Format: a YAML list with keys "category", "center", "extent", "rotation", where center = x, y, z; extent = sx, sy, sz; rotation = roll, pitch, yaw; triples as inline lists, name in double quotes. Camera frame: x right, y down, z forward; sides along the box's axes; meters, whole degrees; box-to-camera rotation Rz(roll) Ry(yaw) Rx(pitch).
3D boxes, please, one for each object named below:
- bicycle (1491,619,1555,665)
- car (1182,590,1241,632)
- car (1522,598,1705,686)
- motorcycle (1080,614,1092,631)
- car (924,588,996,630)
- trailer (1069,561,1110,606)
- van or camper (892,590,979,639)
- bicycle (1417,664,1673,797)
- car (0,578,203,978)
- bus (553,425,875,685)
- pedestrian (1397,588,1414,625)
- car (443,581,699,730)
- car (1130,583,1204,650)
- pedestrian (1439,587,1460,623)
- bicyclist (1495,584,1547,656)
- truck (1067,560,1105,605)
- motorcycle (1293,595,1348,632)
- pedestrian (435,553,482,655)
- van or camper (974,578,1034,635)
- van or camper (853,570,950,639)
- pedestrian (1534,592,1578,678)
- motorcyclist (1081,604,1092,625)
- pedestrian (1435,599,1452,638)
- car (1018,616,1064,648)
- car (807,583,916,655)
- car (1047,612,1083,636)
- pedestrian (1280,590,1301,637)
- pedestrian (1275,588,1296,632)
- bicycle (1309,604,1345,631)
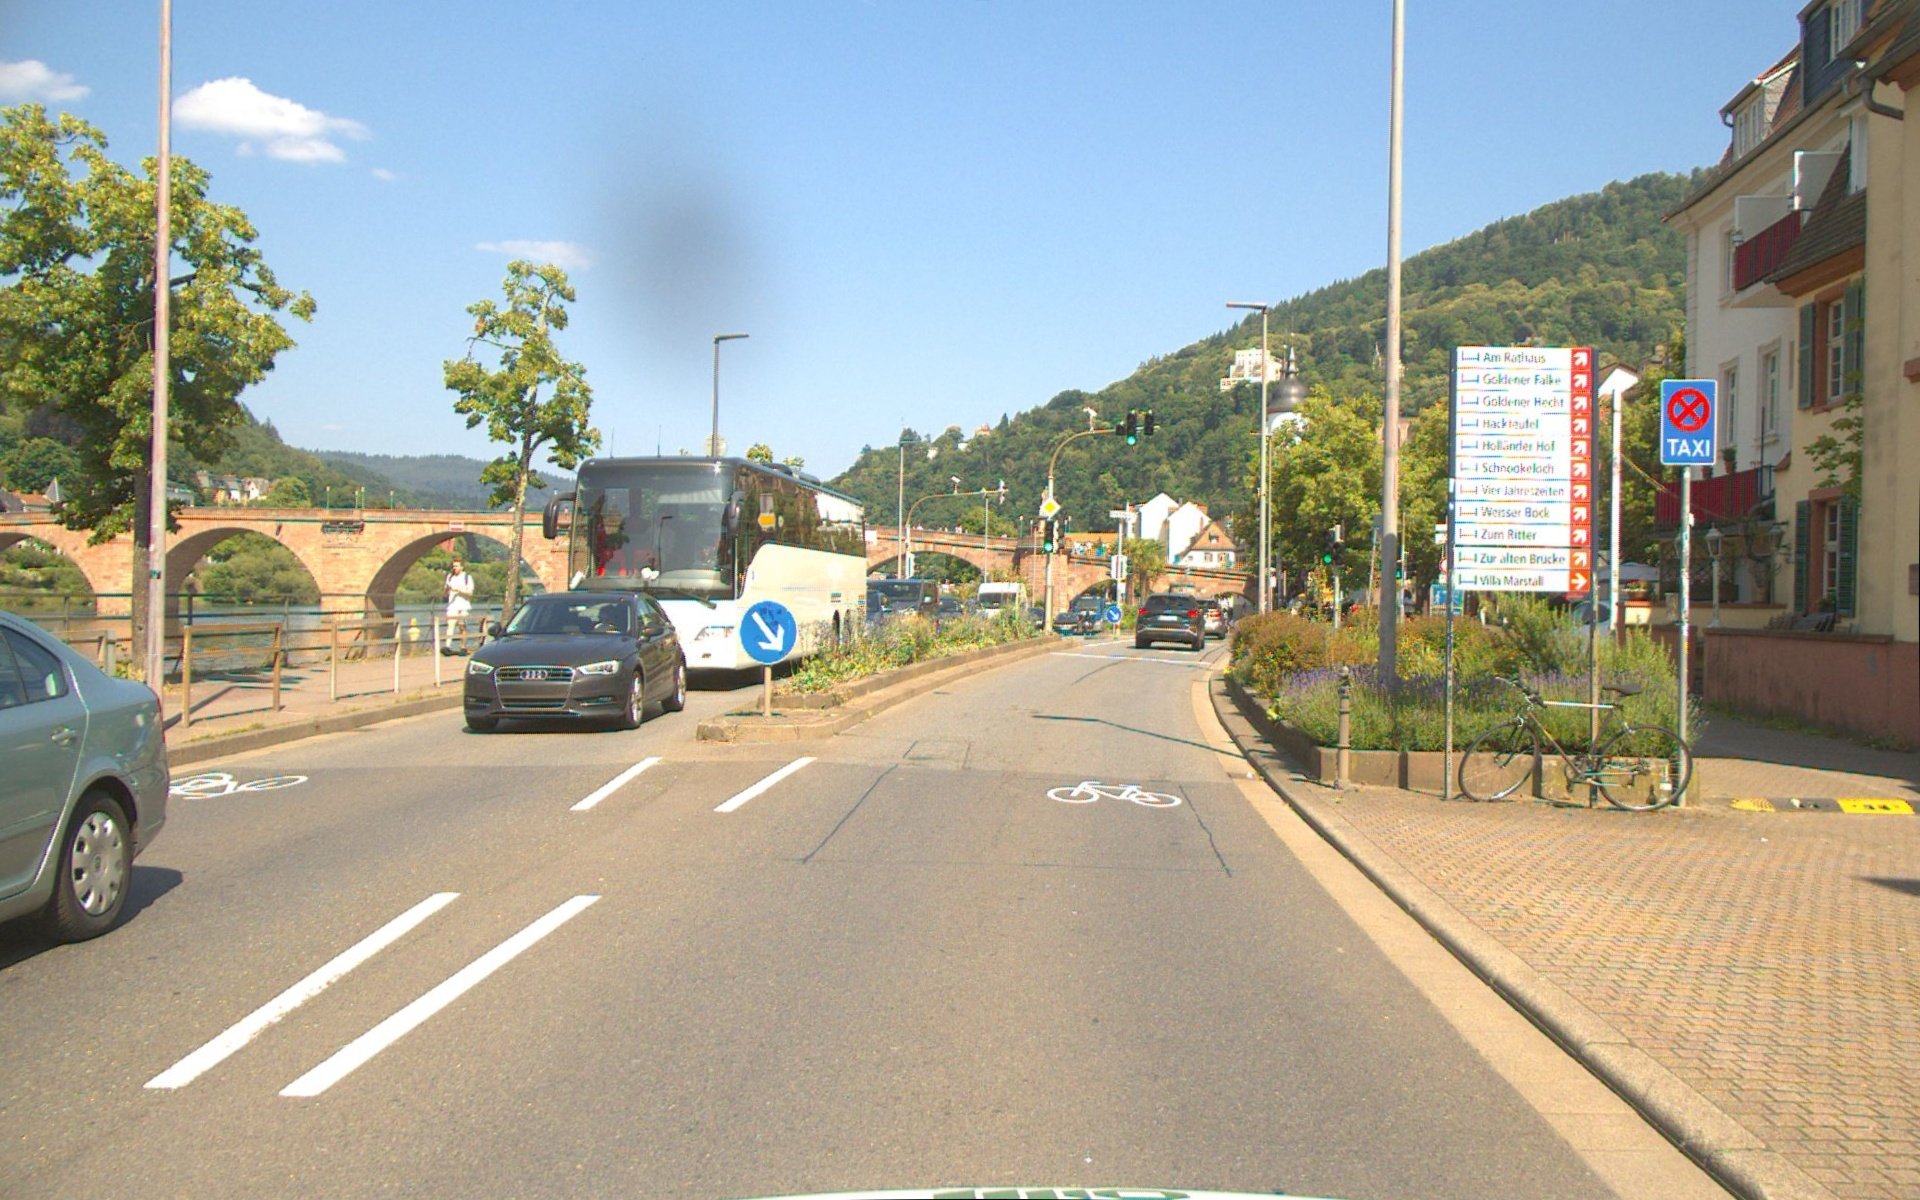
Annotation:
- category: "bicycle"
  center: [12.845, 0.948, 37.768]
  extent: [0.735, 0.981, 1.781]
  rotation: [2, 0, -4]
- category: "car"
  center: [9.372, 0.390, 61.941]
  extent: [1.886, 1.486, 4.835]
  rotation: [1, 0, 5]
- category: "car"
  center: [13.060, 0.788, 33.391]
  extent: [1.839, 1.605, 4.727]
  rotation: [1, 0, 1]
- category: "motorcycle"
  center: [9.094, 1.604, 119.147]
  extent: [0.741, 1.151, 2.457]
  rotation: [1, 0, 7]
- category: "car"
  center: [0.043, 0.337, 60.451]
  extent: [1.910, 1.433, 4.574]
  rotation: [-2, 0, 9]
- category: "trailer"
  center: [10.627, -1.282, 134.954]
  extent: [2.601, 3.463, 8.833]
  rotation: [1, 0, 9]
- category: "van or camper"
  center: [-0.736, 0.471, 53.217]
  extent: [1.951, 1.502, 5.069]
  rotation: [0, -1, 9]
- category: "bicycle"
  center: [4.504, 0.998, 12.781]
  extent: [1.773, 0.893, 0.502]
  rotation: [3, 0, -3]
- category: "car"
  center: [-4.378, 0.666, 5.502]
  extent: [1.776, 1.453, 4.310]
  rotation: [-1, 1, -1]
- category: "bus"
  center: [-3.800, -0.566, 29.734]
  extent: [2.575, 3.626, 12.990]
  rotation: [1, -1, 6]
- category: "pedestrian"
  center: [20.352, 0.302, 75.541]
  extent: [0.692, 1.682, 0.707]
  rotation: [1, 0, 10]
- category: "car"
  center: [-4.125, 0.528, 18.232]
  extent: [1.779, 1.454, 4.193]
  rotation: [0, 0, 1]
- category: "car"
  center: [5.741, 0.404, 45.797]
  extent: [1.886, 1.580, 4.836]
  rotation: [2, 2, 7]
- category: "pedestrian"
  center: [19.640, 0.181, 66.407]
  extent: [0.613, 1.406, 0.542]
  rotation: [3, 0, 1]
- category: "bicyclist"
  center: [12.853, 0.460, 37.933]
  extent: [0.751, 1.611, 1.088]
  rotation: [1, 0, -4]
- category: "truck"
  center: [10.064, -1.342, 131.488]
  extent: [2.601, 3.463, 4.453]
  rotation: [1, 0, 9]
- category: "motorcycle"
  center: [14.873, 0.573, 68.273]
  extent: [0.757, 1.491, 2.265]
  rotation: [1, -2, -39]
- category: "pedestrian"
  center: [-9.064, 0.070, 29.906]
  extent: [0.607, 1.811, 0.662]
  rotation: [1, 0, 1]
- category: "van or camper"
  center: [2.047, 0.324, 75.154]
  extent: [1.951, 2.493, 5.498]
  rotation: [-1, -1, 10]
- category: "van or camper"
  center: [-1.624, 0.131, 48.013]
  extent: [1.951, 1.906, 5.183]
  rotation: [0, 0, 8]
- category: "pedestrian"
  center: [13.401, 0.781, 37.203]
  extent: [0.746, 1.890, 0.610]
  rotation: [-1, 0, 1]
- category: "motorcyclist"
  center: [9.103, 1.038, 119.144]
  extent: [0.720, 1.496, 1.012]
  rotation: [1, 0, 7]
- category: "pedestrian"
  center: [19.500, 0.728, 66.713]
  extent: [0.449, 1.543, 0.690]
  rotation: [2, 0, 2]
- category: "car"
  center: [4.111, 1.592, 83.112]
  extent: [1.780, 1.481, 4.933]
  rotation: [-1, 0, 9]
- category: "car"
  center: [-2.396, 0.450, 41.598]
  extent: [1.951, 1.626, 5.160]
  rotation: [-2, 0, 5]
- category: "car"
  center: [6.847, 1.589, 107.315]
  extent: [1.910, 1.437, 4.222]
  rotation: [-1, -2, 10]
- category: "pedestrian"
  center: [12.847, 0.534, 64.263]
  extent: [0.679, 1.802, 0.764]
  rotation: [-1, 0, 1]
- category: "pedestrian"
  center: [12.788, 0.403, 64.998]
  extent: [0.679, 1.707, 0.764]
  rotation: [-1, 0, 1]
- category: "bicycle"
  center: [15.511, 0.727, 69.920]
  extent: [1.452, 1.139, 0.378]
  rotation: [0, -1, 4]
